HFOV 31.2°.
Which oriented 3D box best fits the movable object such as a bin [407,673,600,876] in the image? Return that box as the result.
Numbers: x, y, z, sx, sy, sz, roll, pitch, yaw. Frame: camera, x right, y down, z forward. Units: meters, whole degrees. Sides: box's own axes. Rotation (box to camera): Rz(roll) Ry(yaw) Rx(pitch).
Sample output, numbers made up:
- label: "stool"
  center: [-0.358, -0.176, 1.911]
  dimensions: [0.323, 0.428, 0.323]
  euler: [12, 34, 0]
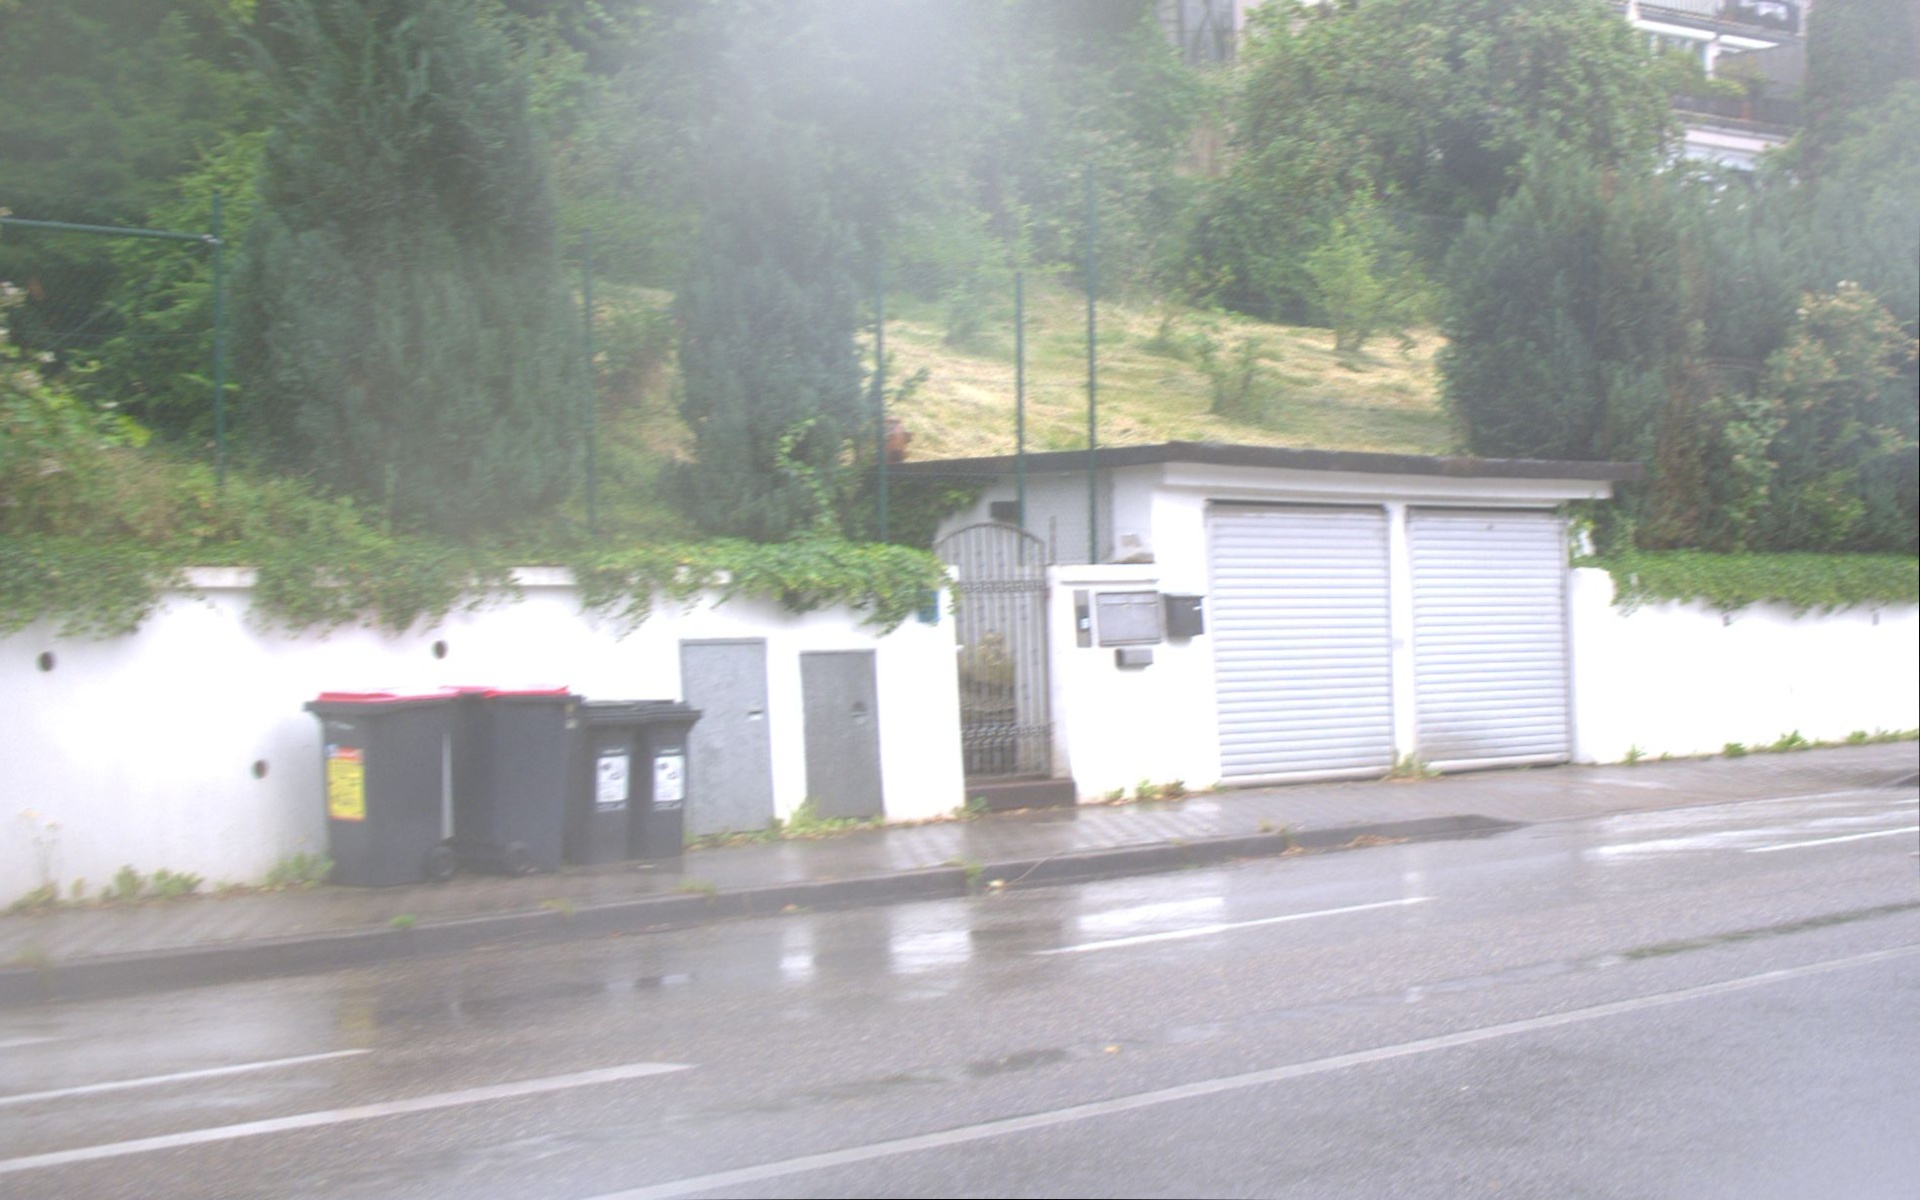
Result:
- label: "movable object such as a bin"
  center: [-2.518, 0.955, 18.984]
  dimensions: [0.636, 1.057, 0.792]
  euler: [-3, 0, 40]

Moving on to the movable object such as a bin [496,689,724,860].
- label: "movable object such as a bin"
  center: [-2.024, 1.000, 19.892]
  dimensions: [0.851, 0.913, 0.952]
  euler: [-3, 0, 39]

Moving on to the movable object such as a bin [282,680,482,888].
- label: "movable object such as a bin"
  center: [-3.097, 0.976, 18.426]
  dimensions: [0.688, 1.057, 0.752]
  euler: [-3, 0, 40]
